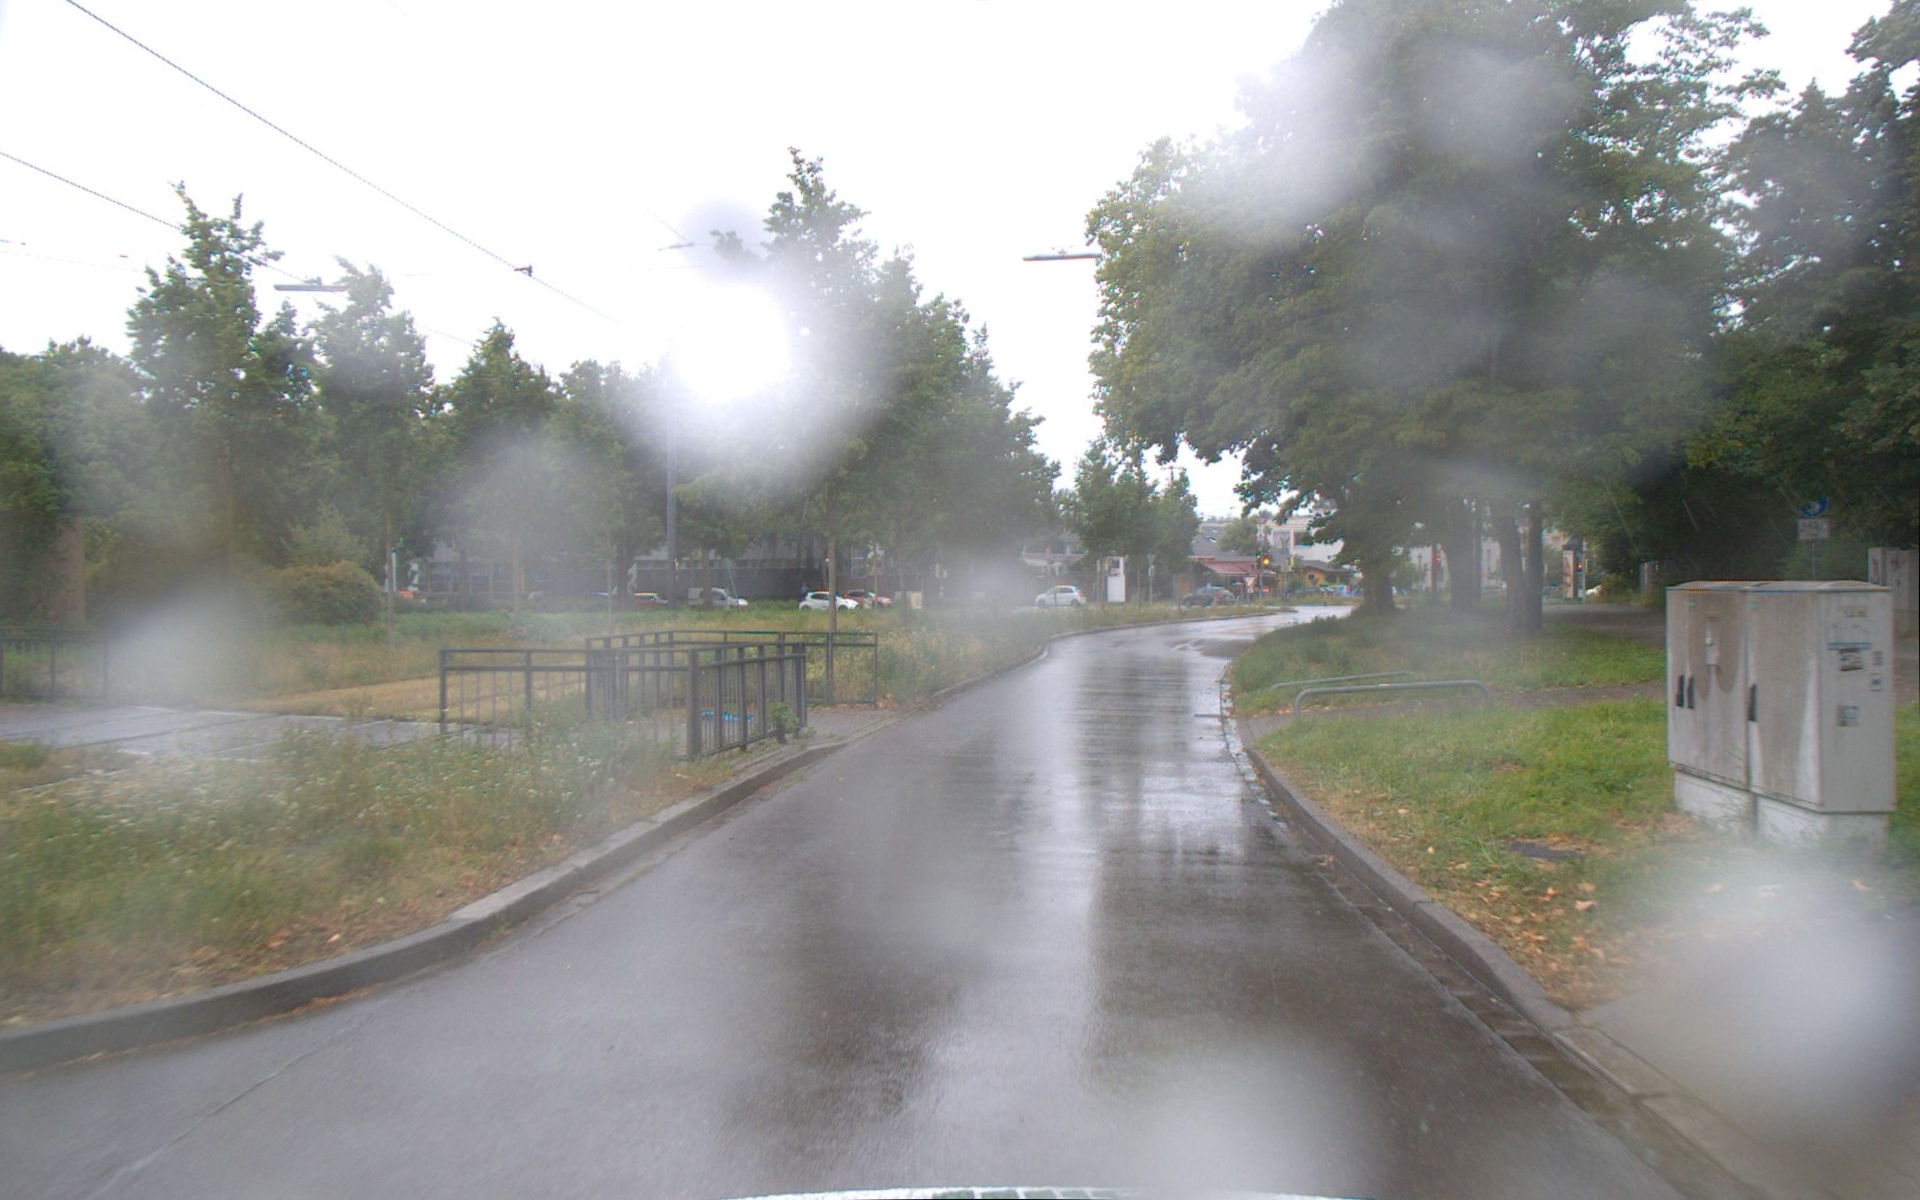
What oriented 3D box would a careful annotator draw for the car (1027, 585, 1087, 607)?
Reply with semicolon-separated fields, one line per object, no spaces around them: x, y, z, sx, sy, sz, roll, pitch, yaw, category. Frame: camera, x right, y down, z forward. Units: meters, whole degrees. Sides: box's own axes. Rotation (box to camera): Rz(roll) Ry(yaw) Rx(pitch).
6.899;-0.296;117.674;3.905;1.445;1.538;-1;1;21;car

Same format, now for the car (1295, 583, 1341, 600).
31.387;-0.760;144.988;3.676;1.467;1.761;-1;0;26;car

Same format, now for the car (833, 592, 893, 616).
-6.546;0.288;111.914;3.736;1.525;1.653;-1;0;11;car

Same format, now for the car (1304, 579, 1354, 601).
33.008;-0.904;148.017;4.057;1.892;1.670;-1;0;30;car

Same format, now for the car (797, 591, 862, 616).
-8.577;0.225;108.746;3.978;1.525;1.653;-1;0;11;car

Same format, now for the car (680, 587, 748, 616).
-16.434;0.106;110.518;4.119;1.828;1.654;-1;1;10;car

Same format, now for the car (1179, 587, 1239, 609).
16.712;-0.136;110.998;1.676;1.445;3.754;-2;1;-43;car
